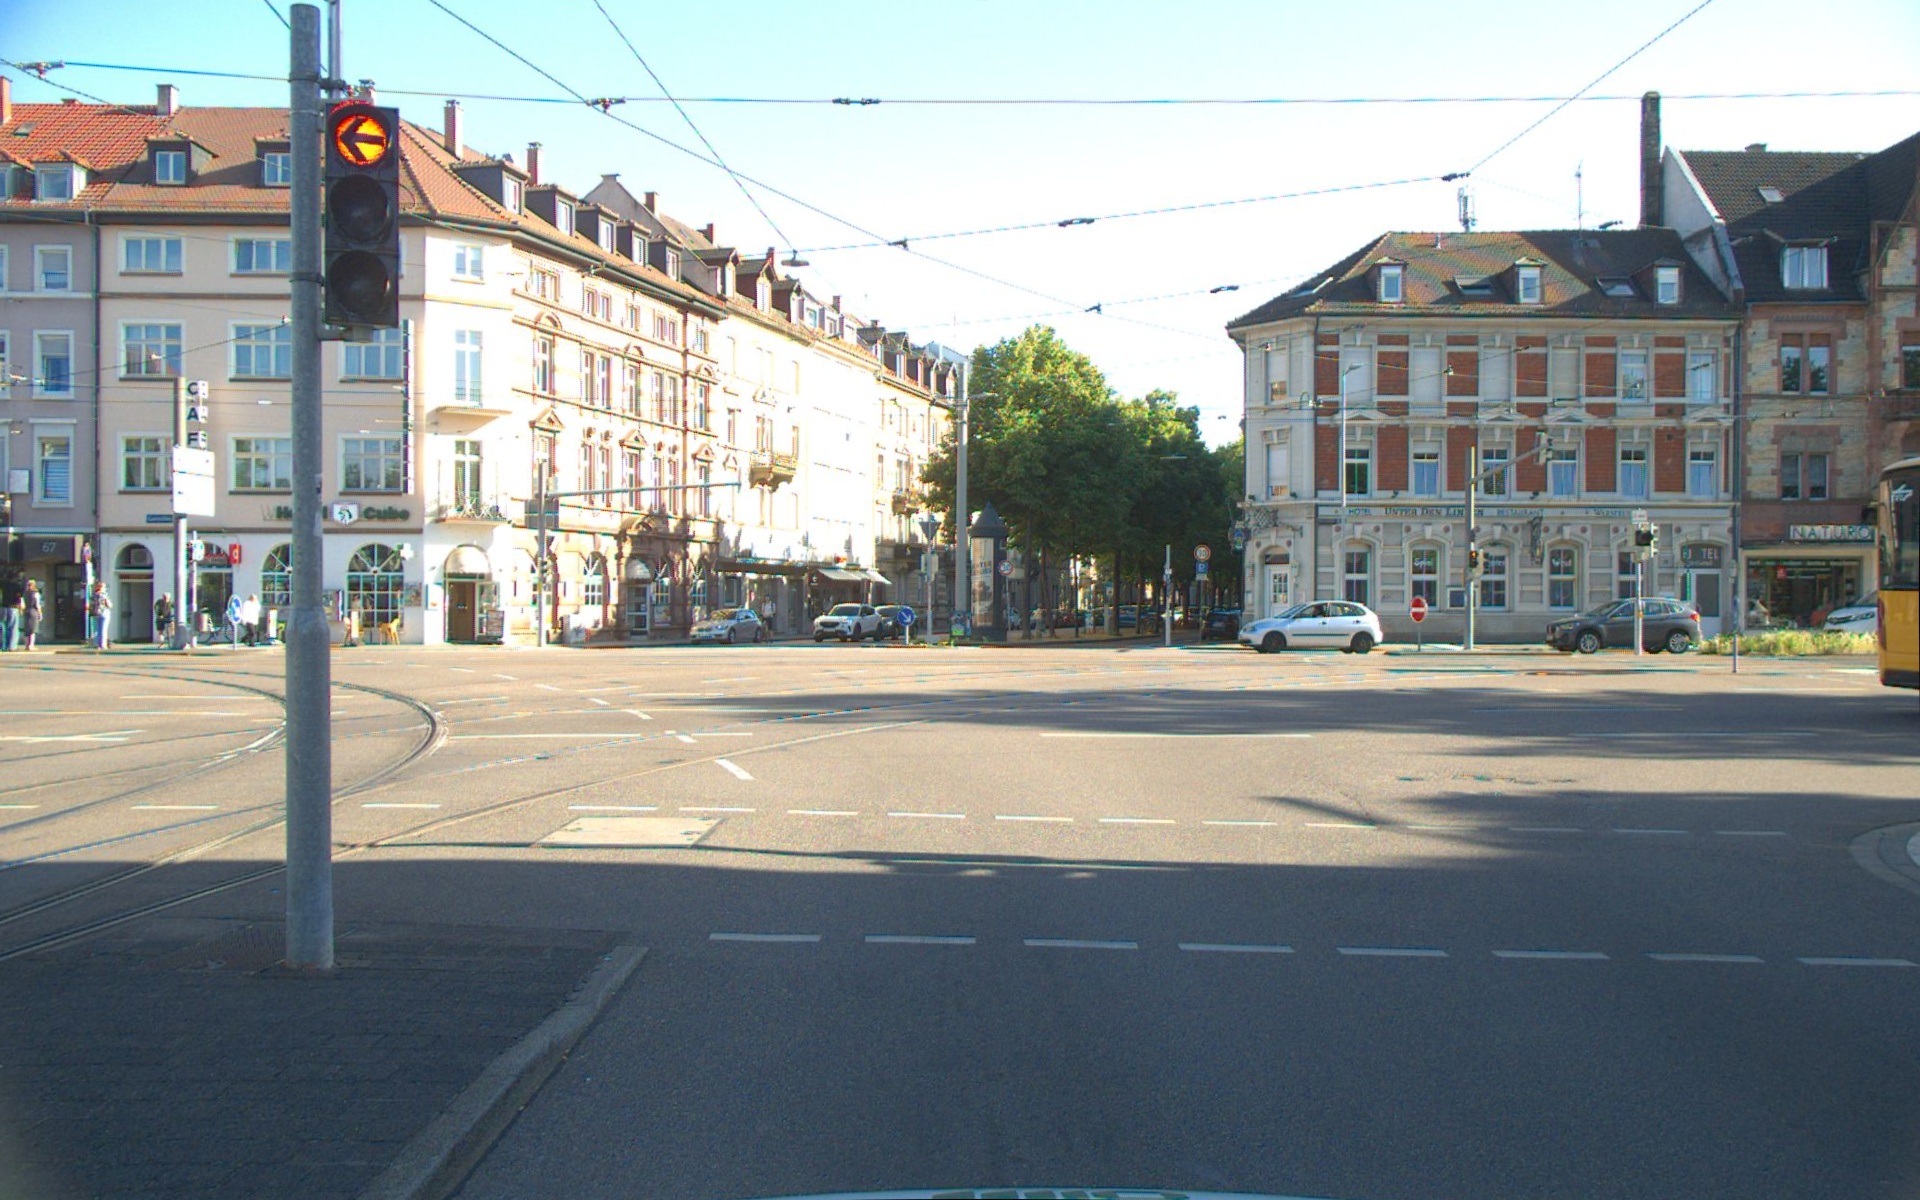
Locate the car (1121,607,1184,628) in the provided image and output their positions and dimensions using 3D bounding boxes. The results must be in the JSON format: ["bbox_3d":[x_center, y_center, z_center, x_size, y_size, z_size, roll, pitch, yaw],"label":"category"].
[{"bbox_3d":[12.313,1.138,105.574,3.902,1.311,1.696,0,0,10],"label":"car"}]

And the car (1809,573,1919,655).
[{"bbox_3d":[24.895,0.351,42.774,4.879,2.049,2.000,0,0,-1],"label":"car"}]

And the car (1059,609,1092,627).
[{"bbox_3d":[9.566,1.477,136.737,1.951,1.429,4.172,0,0,15],"label":"car"}]

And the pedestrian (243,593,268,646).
[{"bbox_3d":[-22.792,0.626,53.501,0.731,1.711,0.623,0,0,-26],"label":"pedestrian"}]

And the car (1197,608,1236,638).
[{"bbox_3d":[12.851,1.140,82.718,1.717,1.445,4.003,0,0,12],"label":"car"}]

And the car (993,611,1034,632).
[{"bbox_3d":[3.812,1.481,116.905,1.951,1.429,4.172,0,0,15],"label":"car"}]

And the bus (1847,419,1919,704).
[{"bbox_3d":[16.026,-0.401,20.947,8.454,3.517,2.782,1,1,-9],"label":"bus"}]

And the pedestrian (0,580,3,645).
[{"bbox_3d":[-24.296,0.317,41.135,0.685,1.609,0.559,0,0,-6],"label":"pedestrian"}]

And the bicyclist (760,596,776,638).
[{"bbox_3d":[-7.549,0.653,65.078,0.479,1.629,0.667,0,0,9],"label":"bicyclist"}]

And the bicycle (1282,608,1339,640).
[{"bbox_3d":[12.175,0.827,57.525,1.911,1.072,0.716,0,0,9],"label":"bicycle"}]

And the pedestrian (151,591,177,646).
[{"bbox_3d":[-24.953,0.585,51.844,0.731,1.711,0.623,0,0,-26],"label":"pedestrian"}]

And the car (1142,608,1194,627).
[{"bbox_3d":[14.041,1.147,111.673,3.360,1.261,1.578,0,0,10],"label":"car"}]

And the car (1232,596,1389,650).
[{"bbox_3d":[9.619,0.612,45.591,3.946,1.448,1.885,0,0,-1],"label":"car"}]

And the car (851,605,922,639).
[{"bbox_3d":[-3.228,0.952,73.590,1.951,1.429,4.172,0,0,15],"label":"car"}]

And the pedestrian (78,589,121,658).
[{"bbox_3d":[-21.449,0.588,41.226,0.725,1.711,0.628,0,0,-1],"label":"pedestrian"}]

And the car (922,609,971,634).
[{"bbox_3d":[-0.822,1.316,102.067,1.951,1.429,4.172,0,0,15],"label":"car"}]

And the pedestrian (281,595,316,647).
[{"bbox_3d":[-21.846,0.688,54.630,0.891,1.711,0.742,0,0,-7],"label":"pedestrian"}]

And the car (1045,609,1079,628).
[{"bbox_3d":[8.137,1.430,131.519,1.951,1.429,4.172,0,0,15],"label":"car"}]

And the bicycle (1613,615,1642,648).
[{"bbox_3d":[21.611,1.007,53.564,0.476,1.038,1.785,0,0,9],"label":"bicycle"}]

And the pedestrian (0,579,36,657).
[{"bbox_3d":[-22.913,0.438,39.982,0.751,1.861,0.722,0,0,-1],"label":"pedestrian"}]

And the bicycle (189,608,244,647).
[{"bbox_3d":[-25.262,0.926,56.213,1.684,1.299,0.385,0,0,-18],"label":"bicycle"}]

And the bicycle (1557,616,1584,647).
[{"bbox_3d":[19.803,1.014,53.665,0.476,0.930,1.785,0,0,9],"label":"bicycle"}]

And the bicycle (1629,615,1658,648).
[{"bbox_3d":[22.110,1.016,53.493,0.476,1.038,1.785,0,0,9],"label":"bicycle"}]

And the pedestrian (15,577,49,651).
[{"bbox_3d":[-23.013,0.338,41.029,0.549,1.817,0.559,0,0,-6],"label":"pedestrian"}]

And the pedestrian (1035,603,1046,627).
[{"bbox_3d":[4.778,0.879,98.457,0.535,1.409,0.626,0,0,15],"label":"pedestrian"}]

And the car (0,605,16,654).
[{"bbox_3d":[-32.134,0.903,52.164,3.651,1.517,1.818,1,0,2],"label":"car"}]

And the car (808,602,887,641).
[{"bbox_3d":[-4.532,0.846,67.398,1.951,1.542,4.172,0,0,15],"label":"car"}]

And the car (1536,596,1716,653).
[{"bbox_3d":[19.572,0.697,48.721,4.488,1.644,1.999,0,0,-3],"label":"car"}]

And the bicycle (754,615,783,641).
[{"bbox_3d":[-7.558,1.098,65.177,0.641,1.018,1.666,1,0,11],"label":"bicycle"}]

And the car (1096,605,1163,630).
[{"bbox_3d":[10.246,1.036,99.835,3.902,1.480,1.683,0,0,10],"label":"car"}]

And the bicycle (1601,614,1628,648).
[{"bbox_3d":[21.162,0.999,53.496,0.476,1.038,1.785,0,0,9],"label":"bicycle"}]

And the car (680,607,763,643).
[{"bbox_3d":[-9.601,0.985,66.891,1.951,1.385,3.821,0,0,15],"label":"car"}]

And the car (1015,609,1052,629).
[{"bbox_3d":[5.470,1.375,122.651,1.951,1.429,4.172,0,0,15],"label":"car"}]
